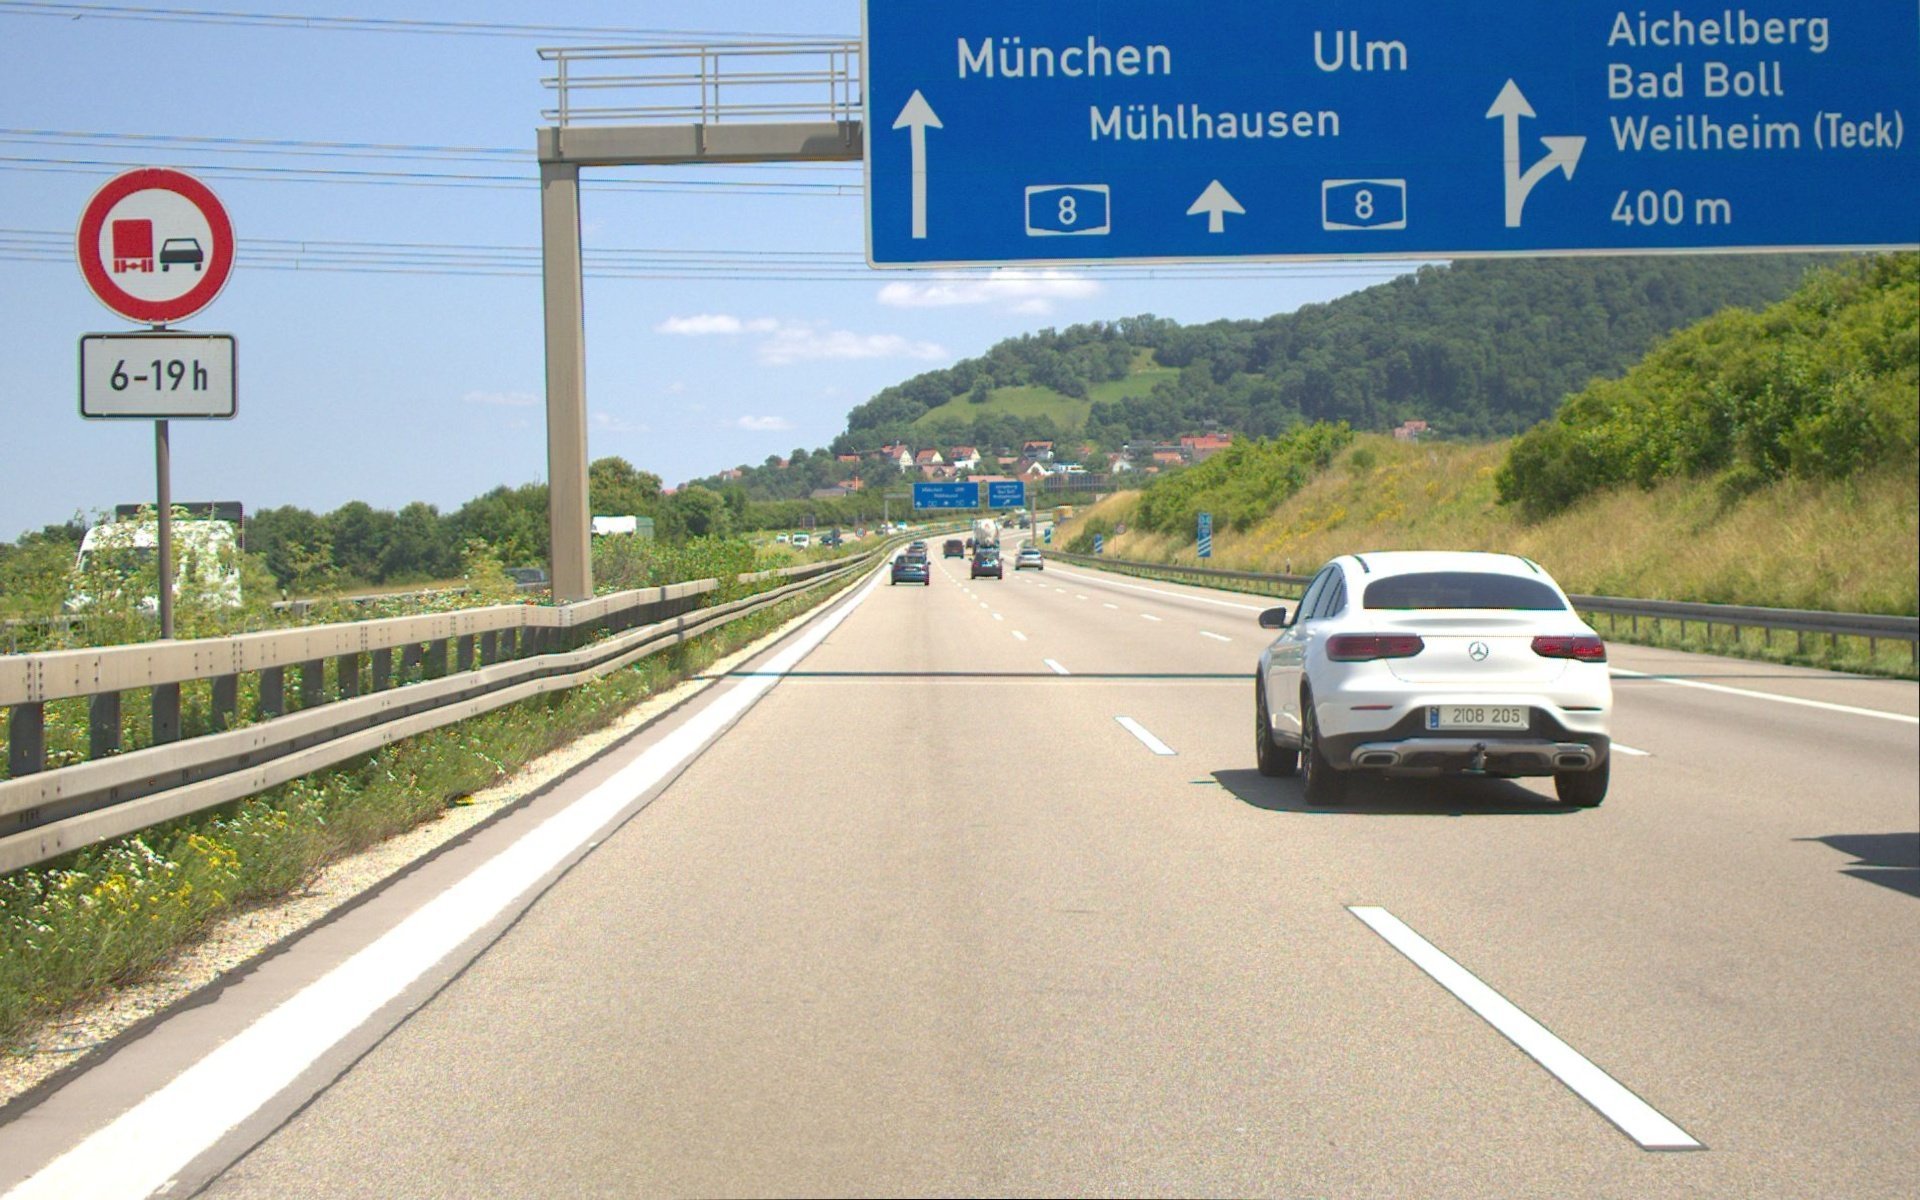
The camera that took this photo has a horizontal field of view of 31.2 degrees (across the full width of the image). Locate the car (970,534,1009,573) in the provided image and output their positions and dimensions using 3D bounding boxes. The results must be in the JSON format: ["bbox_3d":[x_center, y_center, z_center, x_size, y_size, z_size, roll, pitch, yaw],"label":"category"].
[{"bbox_3d":[1.550,-2.446,180.739,1.993,2.007,4.000,1,0,0],"label":"car"}]

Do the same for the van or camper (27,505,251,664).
[{"bbox_3d":[-13.678,-0.288,57.698,2.227,2.500,6.597,1,1,-1],"label":"van or camper"}]

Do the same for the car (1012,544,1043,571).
[{"bbox_3d":[4.659,-2.946,237.092,1.993,1.812,4.000,-1,1,0],"label":"car"}]

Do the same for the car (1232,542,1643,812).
[{"bbox_3d":[3.038,0.439,23.004,1.914,1.575,5.231,1,0,-1],"label":"car"}]

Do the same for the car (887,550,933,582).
[{"bbox_3d":[-2.206,-1.528,153.297,1.993,1.384,4.000,1,0,0],"label":"car"}]
